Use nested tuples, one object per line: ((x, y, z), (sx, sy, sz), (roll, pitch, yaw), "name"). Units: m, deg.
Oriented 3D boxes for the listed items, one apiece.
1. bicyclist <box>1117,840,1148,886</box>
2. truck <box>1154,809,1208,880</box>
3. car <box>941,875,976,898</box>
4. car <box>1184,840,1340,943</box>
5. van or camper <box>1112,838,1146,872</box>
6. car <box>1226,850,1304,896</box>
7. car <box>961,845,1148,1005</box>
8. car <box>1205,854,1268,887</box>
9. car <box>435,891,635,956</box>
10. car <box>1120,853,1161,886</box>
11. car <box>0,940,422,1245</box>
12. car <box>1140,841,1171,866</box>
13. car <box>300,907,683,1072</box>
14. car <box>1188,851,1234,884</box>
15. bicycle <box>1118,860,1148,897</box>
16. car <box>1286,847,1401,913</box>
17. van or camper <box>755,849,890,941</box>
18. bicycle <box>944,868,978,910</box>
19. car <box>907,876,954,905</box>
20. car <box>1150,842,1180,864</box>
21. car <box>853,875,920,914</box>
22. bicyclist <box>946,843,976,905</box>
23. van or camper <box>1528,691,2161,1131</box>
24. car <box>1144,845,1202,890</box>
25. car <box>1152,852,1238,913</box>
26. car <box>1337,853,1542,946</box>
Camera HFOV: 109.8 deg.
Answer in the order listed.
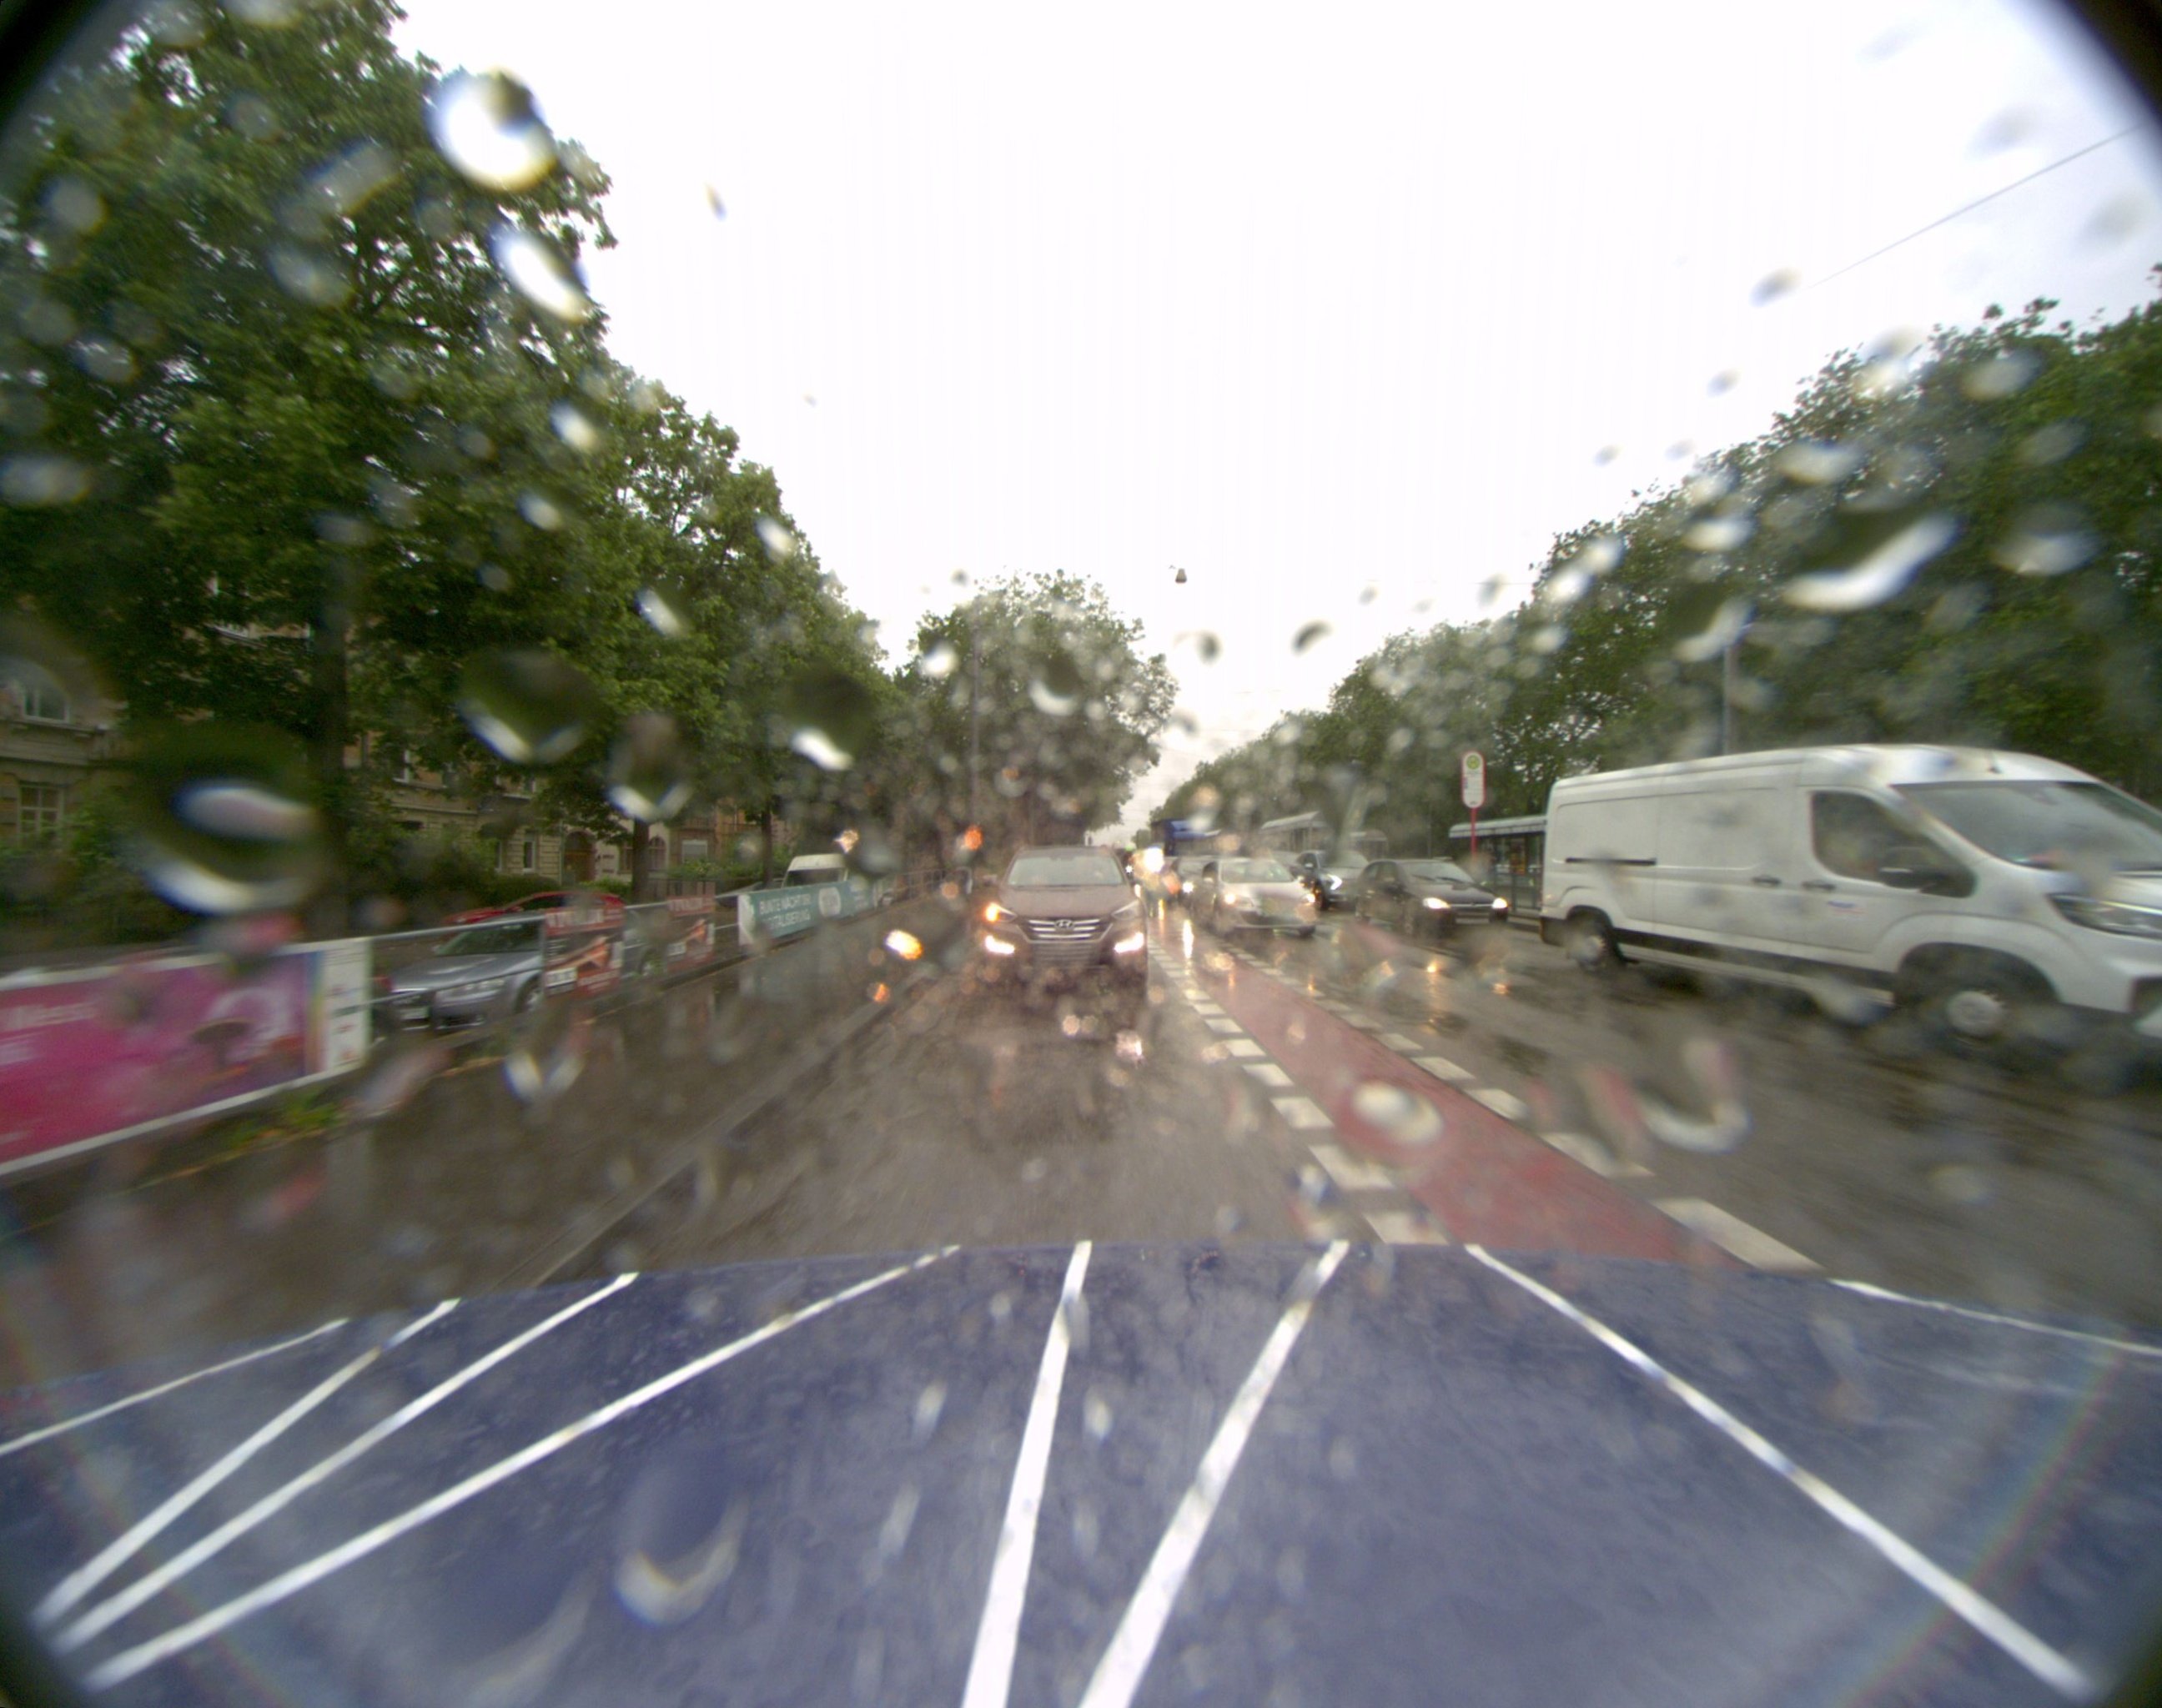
((1.676, 0.295, 24.929), (0.927, 1.461, 0.805), (-2, 1, 0), "bicyclist")
((6.504, -0.525, 50.401), (2.417, 4.251, 8.354), (-1, -1, 0), "truck")
((-8.482, 2.228, 52.954), (1.809, 1.446, 4.000), (-1, -1, 0), "car")
((3.395, 0.667, 15.160), (1.976, 1.731, 4.267), (-1, -1, -2), "car")
((3.693, 0.147, 59.353), (2.144, 2.484, 5.712), (-1, -1, -2), "van or camper")
((7.006, 0.710, 29.378), (1.913, 1.637, 4.191), (-1, -1, -1), "car")
((-0.196, 0.770, 10.220), (1.912, 1.637, 4.681), (-1, -1, 2), "car")
((7.051, 0.741, 34.906), (1.913, 1.399, 4.191), (-1, -1, -1), "car")
((-14.802, 1.843, 20.901), (4.294, 1.461, 1.705), (0, -1, -32), "car")
((3.344, 0.843, 43.681), (1.998, 1.737, 3.999), (-2, 1, 0), "car")
((-7.004, 1.511, 4.942), (1.750, 1.455, 4.216), (-1, -1, 0), "car")
((6.816, -0.092, 70.156), (2.344, 2.137, 5.453), (-2, 1, 2), "car")
((-7.257, 1.562, 10.038), (1.731, 1.461, 4.216), (-1, -1, 0), "car")
((6.954, 0.719, 40.960), (1.912, 1.637, 4.192), (-1, -1, 3), "car")
((1.680, 0.778, 24.922), (0.818, 1.082, 1.998), (-2, 1, 0), "bicycle")
((7.212, 0.694, 21.346), (1.847, 1.625, 4.248), (-1, -1, 2), "car")
((-8.058, 1.201, 24.487), (2.332, 2.575, 6.097), (-1, -1, -1), "van or camper")
((-3.230, 0.919, 20.551), (0.740, 1.066, 1.866), (0, -1, -4), "bicycle")
((-8.034, 1.924, 40.838), (1.704, 1.363, 4.000), (-2, 0, 0), "car")
((6.853, -0.082, 62.563), (1.998, 1.706, 3.999), (-2, 1, 0), "car")
((-8.013, 1.647, 31.655), (1.630, 1.341, 4.215), (-1, 1, 0), "car")
((-3.248, 0.547, 20.612), (0.738, 1.646, 0.877), (0, 0, -5), "bicyclist")
((7.056, 0.339, 7.047), (2.181, 2.456, 5.970), (-1, -1, -1), "van or camper")
((3.648, 0.537, 30.759), (1.912, 1.637, 4.192), (-1, -1, 2), "car")
((3.149, 0.771, 21.933), (1.912, 1.540, 4.668), (-1, -1, 2), "car")
((6.710, 0.781, 14.874), (1.786, 1.504, 4.556), (-1, -1, -1), "car")
